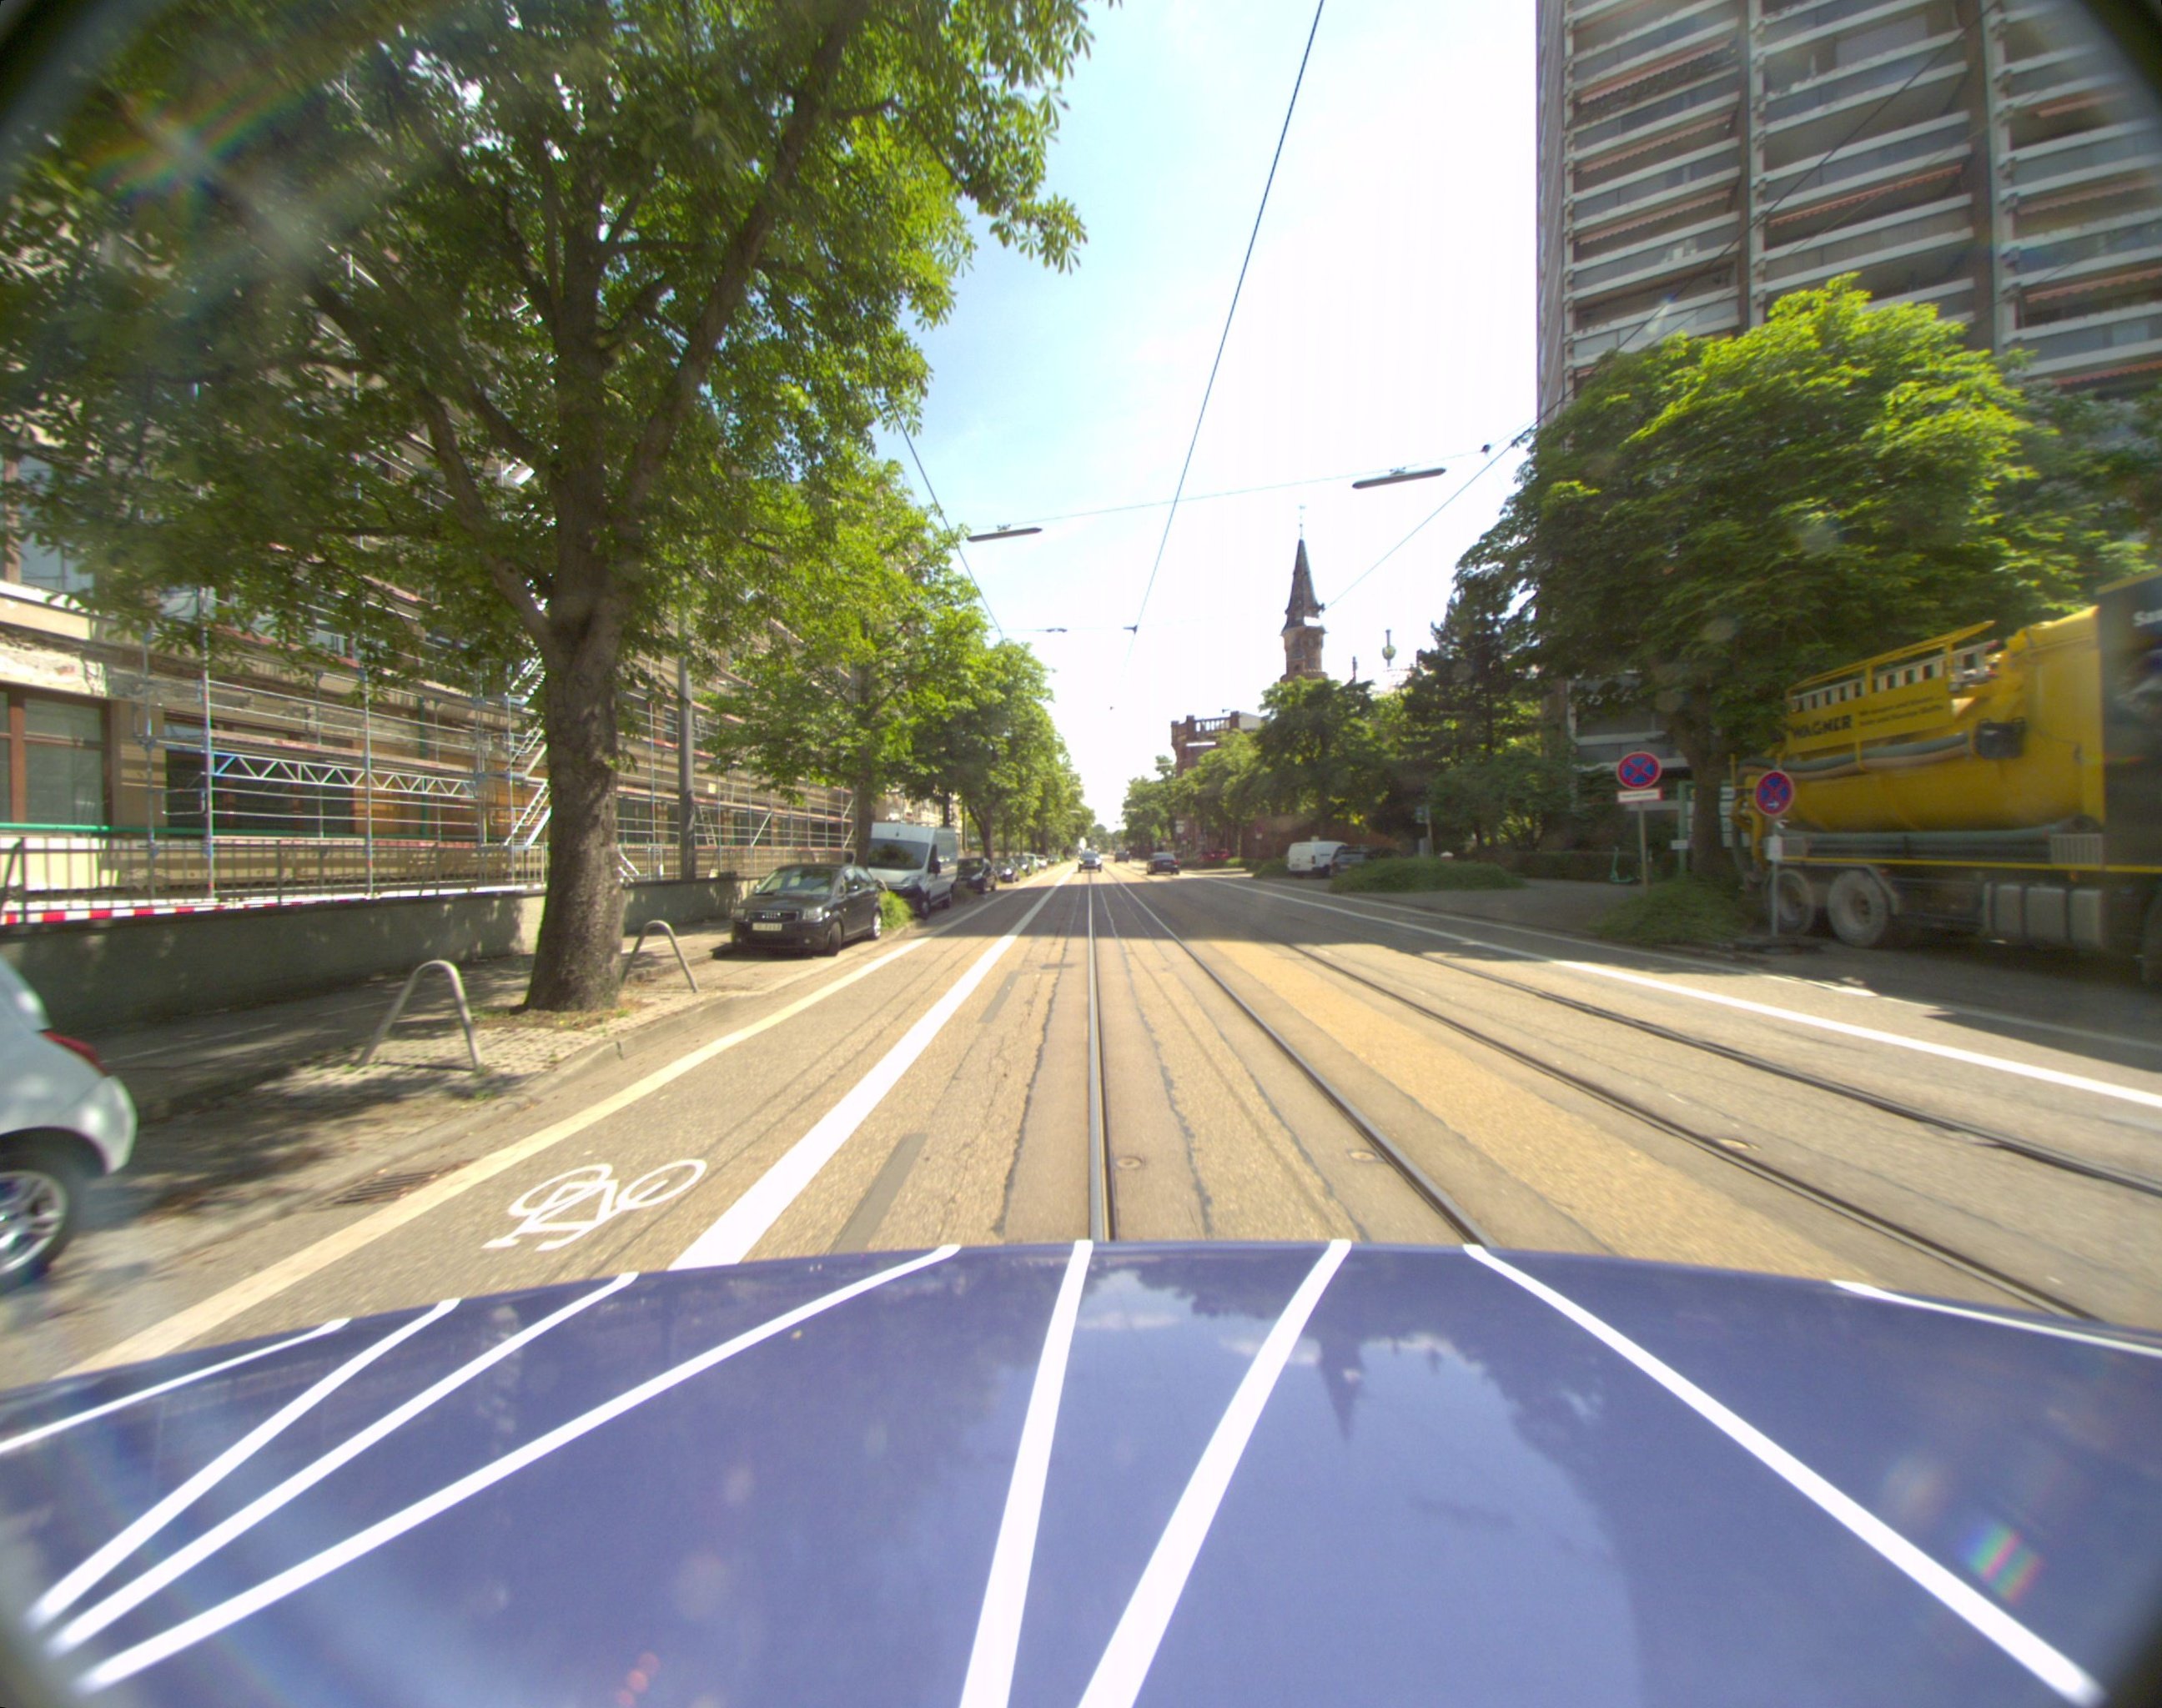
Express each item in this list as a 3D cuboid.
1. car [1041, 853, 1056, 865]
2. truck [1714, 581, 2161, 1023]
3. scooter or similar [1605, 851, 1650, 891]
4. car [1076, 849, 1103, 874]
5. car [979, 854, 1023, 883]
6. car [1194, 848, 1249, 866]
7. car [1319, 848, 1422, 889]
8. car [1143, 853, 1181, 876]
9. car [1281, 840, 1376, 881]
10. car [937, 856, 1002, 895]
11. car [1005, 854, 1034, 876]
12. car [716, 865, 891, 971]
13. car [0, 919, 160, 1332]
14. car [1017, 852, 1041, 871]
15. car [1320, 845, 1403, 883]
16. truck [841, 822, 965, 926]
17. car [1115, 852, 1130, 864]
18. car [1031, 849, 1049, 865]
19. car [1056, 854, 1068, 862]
[{"bbox_3d":[-4.029,0.655,95.434,1.675,1.481,3.980,-1,0,0],"label":"car"},{"bbox_3d":[11.037,-0.523,7.640,2.719,3.819,10.974,-2,1,15],"label":"truck"},{"bbox_3d":[15.959,0.479,22.214,0.384,1.117,1.370,-3,0,5],"label":"scooter or similar"},{"bbox_3d":[0.648,0.548,58.996,1.998,1.731,4.227,-3,0,0],"label":"car"},{"bbox_3d":[-4.415,0.778,42.762,1.829,1.463,4.486,-1,0,2],"label":"car"},{"bbox_3d":[12.945,0.267,70.028,4.787,1.557,1.997,-2,0,-28],"label":"car"},{"bbox_3d":[11.701,0.568,30.615,4.455,1.386,1.768,-3,0,-38],"label":"car"},{"bbox_3d":[5.147,0.651,48.611,1.779,1.389,4.286,-1,0,-2],"label":"car"},{"bbox_3d":[12.196,0.298,37.386,4.555,1.781,1.896,-3,0,-32],"label":"car"},{"bbox_3d":[-4.601,0.854,31.881,1.828,1.463,4.401,-1,0,3],"label":"car"},{"bbox_3d":[-4.261,0.755,53.043,1.675,1.429,4.041,-1,0,0],"label":"car"},{"bbox_3d":[-4.741,1.010,13.621,1.648,1.525,3.946,-1,0,0],"label":"car"},{"bbox_3d":[-4.995,1.071,1.498,1.648,1.525,3.785,-1,0,2],"label":"car"},{"bbox_3d":[-4.270,0.617,62.582,1.675,1.509,4.201,-1,0,0],"label":"car"},{"bbox_3d":[12.798,0.433,34.569,3.958,1.523,1.768,-3,0,-41],"label":"car"},{"bbox_3d":[-4.760,0.473,21.329,2.019,2.474,5.955,-1,0,0],"label":"truck"},{"bbox_3d":[5.812,0.508,107.008,1.835,1.671,4.184,-1,0,1],"label":"car"},{"bbox_3d":[-4.047,0.319,75.596,1.676,1.490,4.364,-1,0,-3],"label":"car"},{"bbox_3d":[-3.171,0.606,126.153,1.756,1.263,3.833,-3,0,1],"label":"car"}]
